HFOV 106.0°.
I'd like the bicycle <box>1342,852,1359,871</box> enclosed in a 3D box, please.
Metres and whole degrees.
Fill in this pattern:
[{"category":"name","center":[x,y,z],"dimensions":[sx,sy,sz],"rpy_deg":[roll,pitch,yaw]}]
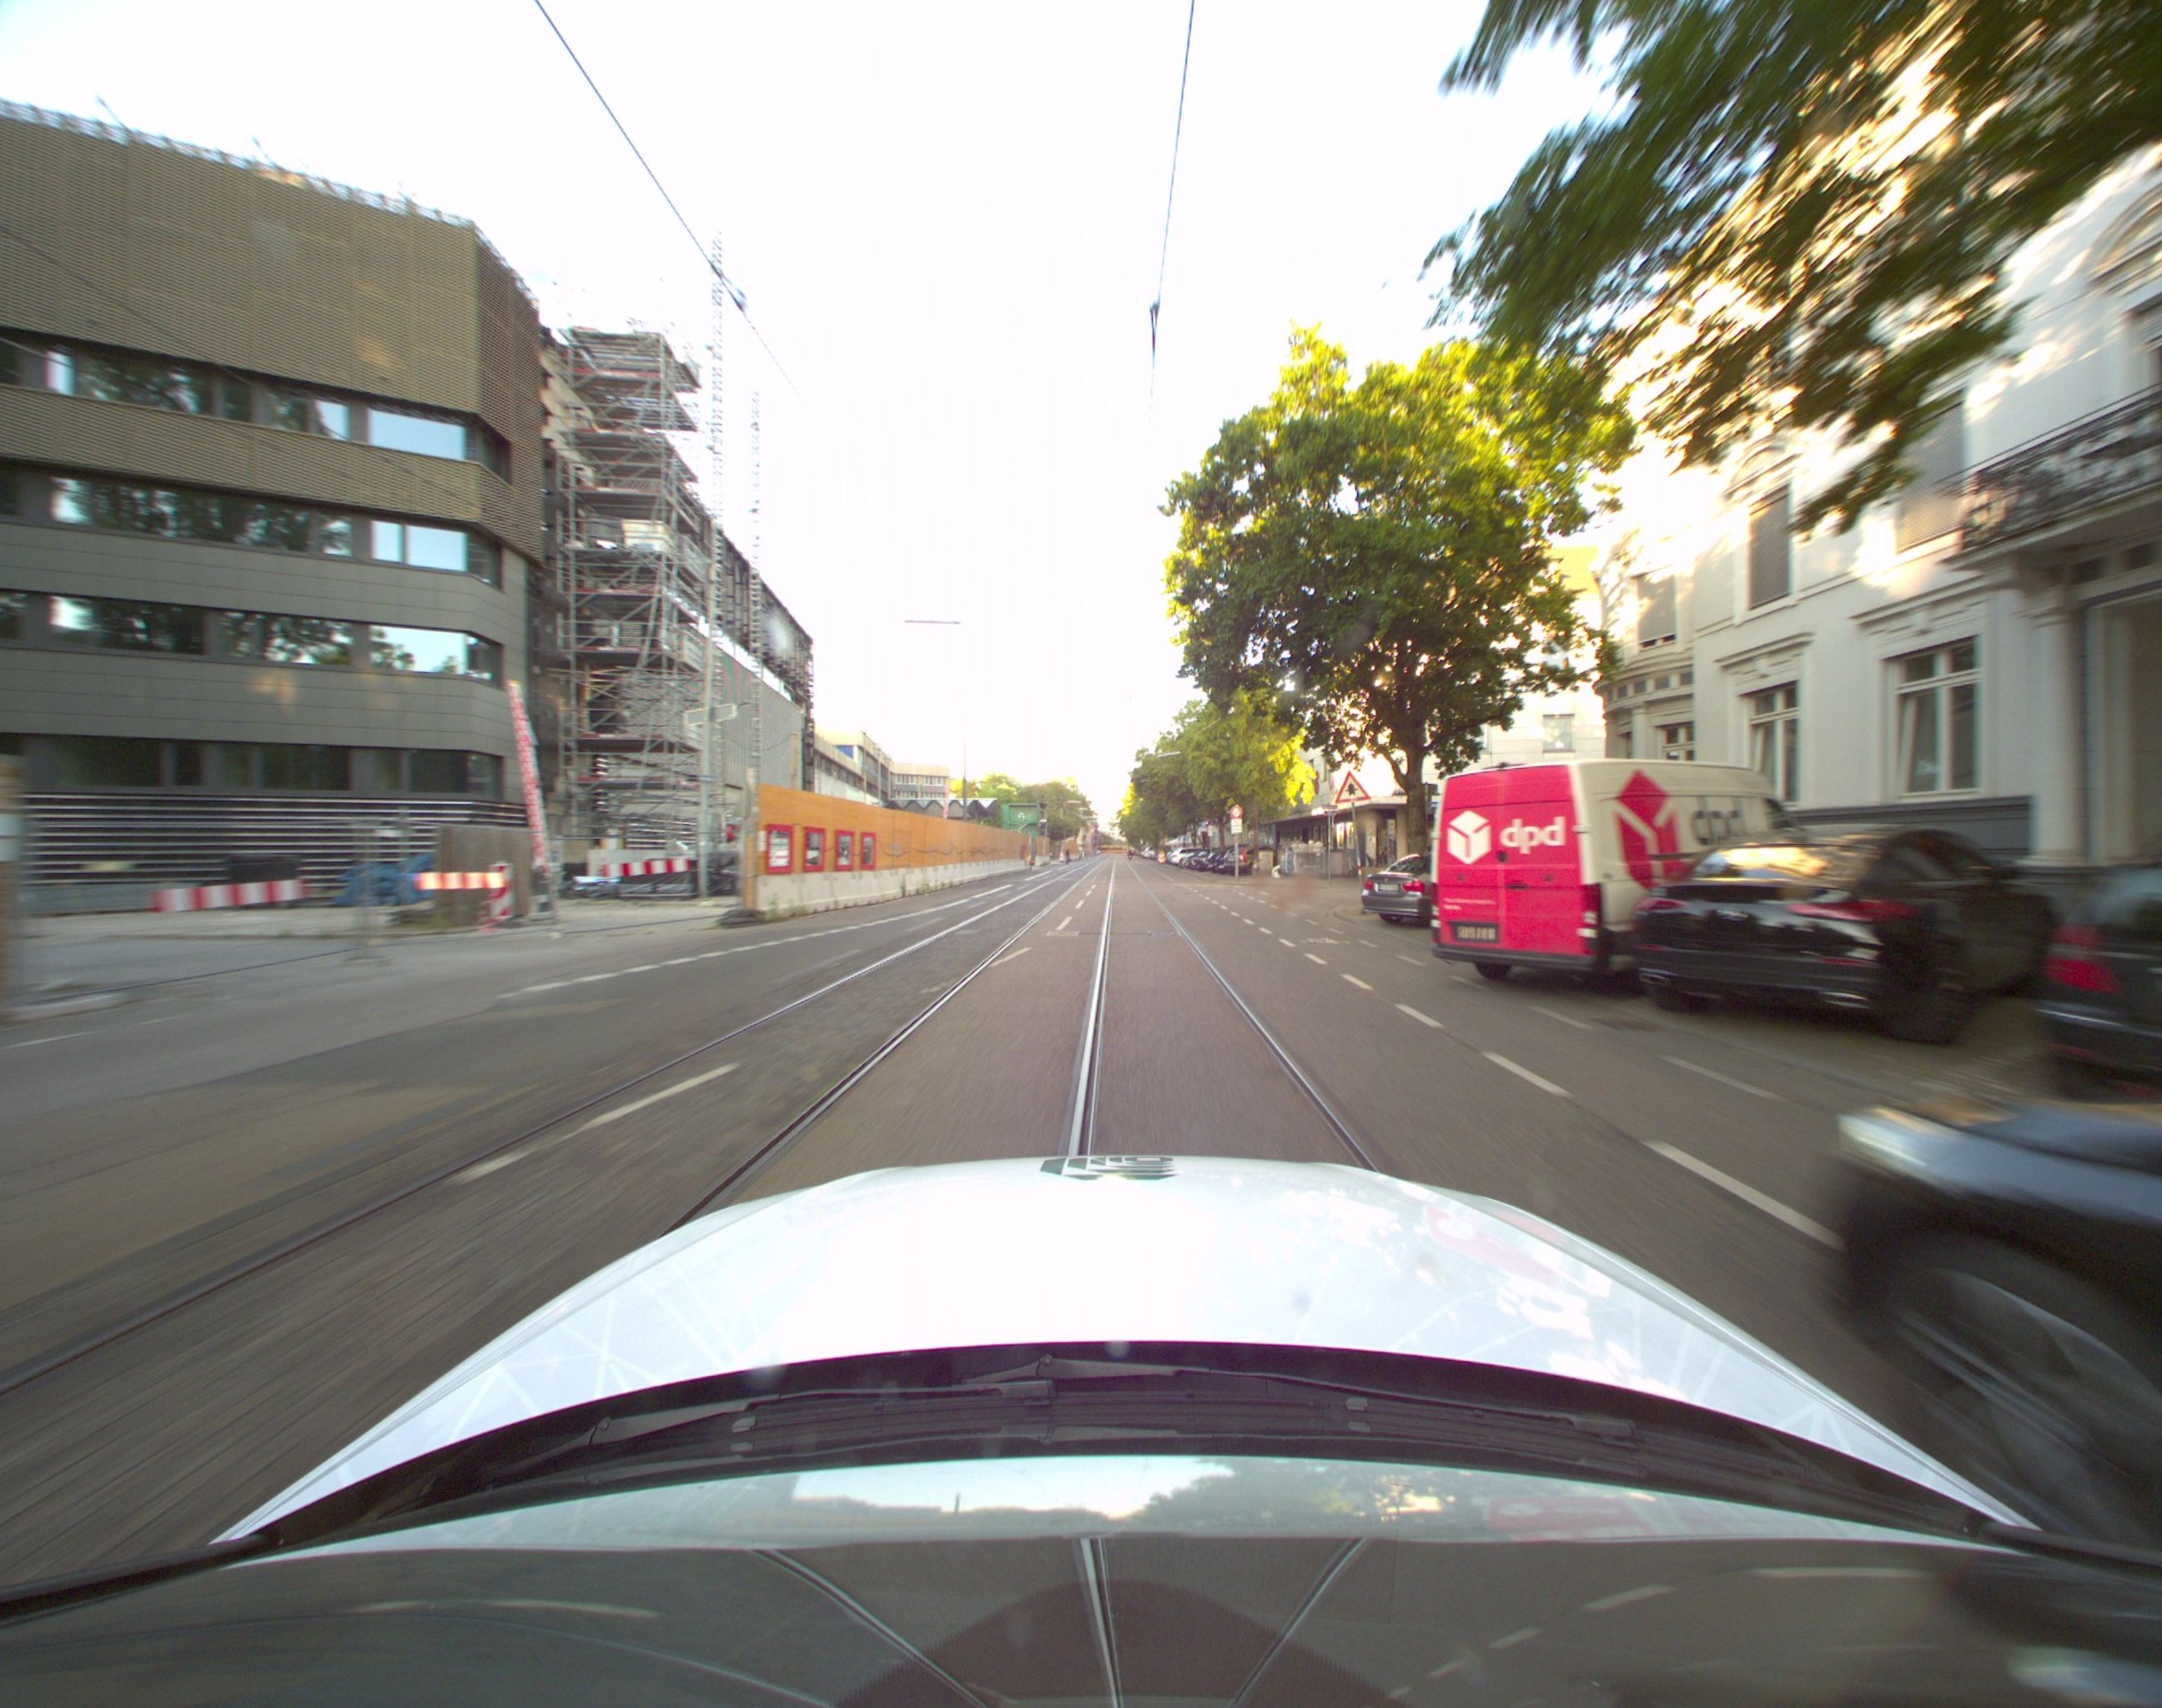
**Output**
[{"category":"bicycle","center":[13.070,0.340,39.564],"dimensions":[0.339,0.882,1.326],"rpy_deg":[-4,0,0]}]

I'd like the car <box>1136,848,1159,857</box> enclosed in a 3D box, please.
[{"category":"car","center":[12.471,-0.358,152.583],"dimensions":[3.966,1.486,1.907],"rpy_deg":[-2,-1,-22]}]

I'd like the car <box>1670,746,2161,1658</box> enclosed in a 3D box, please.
[{"category":"car","center":[2.842,0.668,0.648],"dimensions":[1.828,1.640,4.172],"rpy_deg":[3,1,3]}]

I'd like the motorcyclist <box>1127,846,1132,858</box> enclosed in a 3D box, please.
[{"category":"motorcyclist","center":[7.327,-0.316,123.438],"dimensions":[0.643,1.697,1.026],"rpy_deg":[0,-1,2]}]

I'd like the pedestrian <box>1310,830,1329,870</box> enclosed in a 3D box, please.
[{"category":"pedestrian","center":[12.255,-0.197,41.874],"dimensions":[0.689,1.985,0.786],"rpy_deg":[-3,0,2]}]

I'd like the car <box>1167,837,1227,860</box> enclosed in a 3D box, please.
[{"category":"car","center":[9.690,-0.453,68.455],"dimensions":[4.637,1.688,2.006],"rpy_deg":[-3,0,-2]}]

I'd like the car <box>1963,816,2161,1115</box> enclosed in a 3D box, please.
[{"category":"car","center":[8.075,0.551,5.430],"dimensions":[5.040,1.603,1.878],"rpy_deg":[-1,0,-30]}]

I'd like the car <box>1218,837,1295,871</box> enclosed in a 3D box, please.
[{"category":"car","center":[10.113,-0.001,46.815],"dimensions":[4.183,1.664,1.823],"rpy_deg":[-4,0,-32]}]

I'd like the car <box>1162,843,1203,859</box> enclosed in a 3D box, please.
[{"category":"car","center":[10.613,-0.314,85.194],"dimensions":[3.979,1.553,1.693],"rpy_deg":[-3,0,-23]}]

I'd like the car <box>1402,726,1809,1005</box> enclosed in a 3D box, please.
[{"category":"car","center":[6.794,0.063,10.304],"dimensions":[5.660,2.694,2.150],"rpy_deg":[-1,0,-32]}]

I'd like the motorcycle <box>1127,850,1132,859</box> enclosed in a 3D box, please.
[{"category":"motorcycle","center":[7.324,0.040,123.313],"dimensions":[0.643,1.369,1.812],"rpy_deg":[0,-1,2]}]

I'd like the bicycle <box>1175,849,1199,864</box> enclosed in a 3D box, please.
[{"category":"bicycle","center":[8.660,0.189,66.532],"dimensions":[1.836,1.102,0.496],"rpy_deg":[-4,1,-12]}]

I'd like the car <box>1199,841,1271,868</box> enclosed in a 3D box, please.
[{"category":"car","center":[9.974,0.057,52.751],"dimensions":[4.176,1.465,1.955],"rpy_deg":[-4,0,-26]}]

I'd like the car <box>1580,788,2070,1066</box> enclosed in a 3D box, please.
[{"category":"car","center":[7.481,0.449,7.985],"dimensions":[5.660,1.895,2.150],"rpy_deg":[-1,0,-32]}]

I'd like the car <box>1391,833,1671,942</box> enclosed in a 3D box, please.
[{"category":"car","center":[7.661,0.479,13.836],"dimensions":[4.416,1.445,1.971],"rpy_deg":[-3,0,-26]}]

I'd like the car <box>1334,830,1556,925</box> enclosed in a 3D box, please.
[{"category":"car","center":[7.461,0.389,16.542],"dimensions":[4.625,1.513,1.843],"rpy_deg":[-4,2,-32]}]

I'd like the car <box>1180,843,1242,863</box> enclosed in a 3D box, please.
[{"category":"car","center":[9.821,-0.090,61.483],"dimensions":[4.226,1.426,1.963],"rpy_deg":[-1,0,-20]}]

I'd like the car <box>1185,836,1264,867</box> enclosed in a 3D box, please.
[{"category":"car","center":[10.020,-0.197,56.991],"dimensions":[4.974,1.826,2.196],"rpy_deg":[-4,0,-16]}]

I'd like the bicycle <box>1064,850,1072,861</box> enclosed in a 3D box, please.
[{"category":"bicycle","center":[-1.421,0.147,87.476],"dimensions":[0.765,1.228,1.937],"rpy_deg":[-1,0,2]}]

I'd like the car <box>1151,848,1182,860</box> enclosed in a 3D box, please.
[{"category":"car","center":[12.407,0.061,118.164],"dimensions":[4.124,1.470,1.814],"rpy_deg":[-4,0,-16]}]

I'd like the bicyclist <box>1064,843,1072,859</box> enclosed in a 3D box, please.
[{"category":"bicyclist","center":[-1.425,-0.346,87.502],"dimensions":[0.765,1.665,1.019],"rpy_deg":[-1,0,2]}]

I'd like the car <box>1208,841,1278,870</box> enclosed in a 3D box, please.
[{"category":"car","center":[9.893,0.063,49.812],"dimensions":[3.905,1.502,1.797],"rpy_deg":[-4,0,-29]}]
